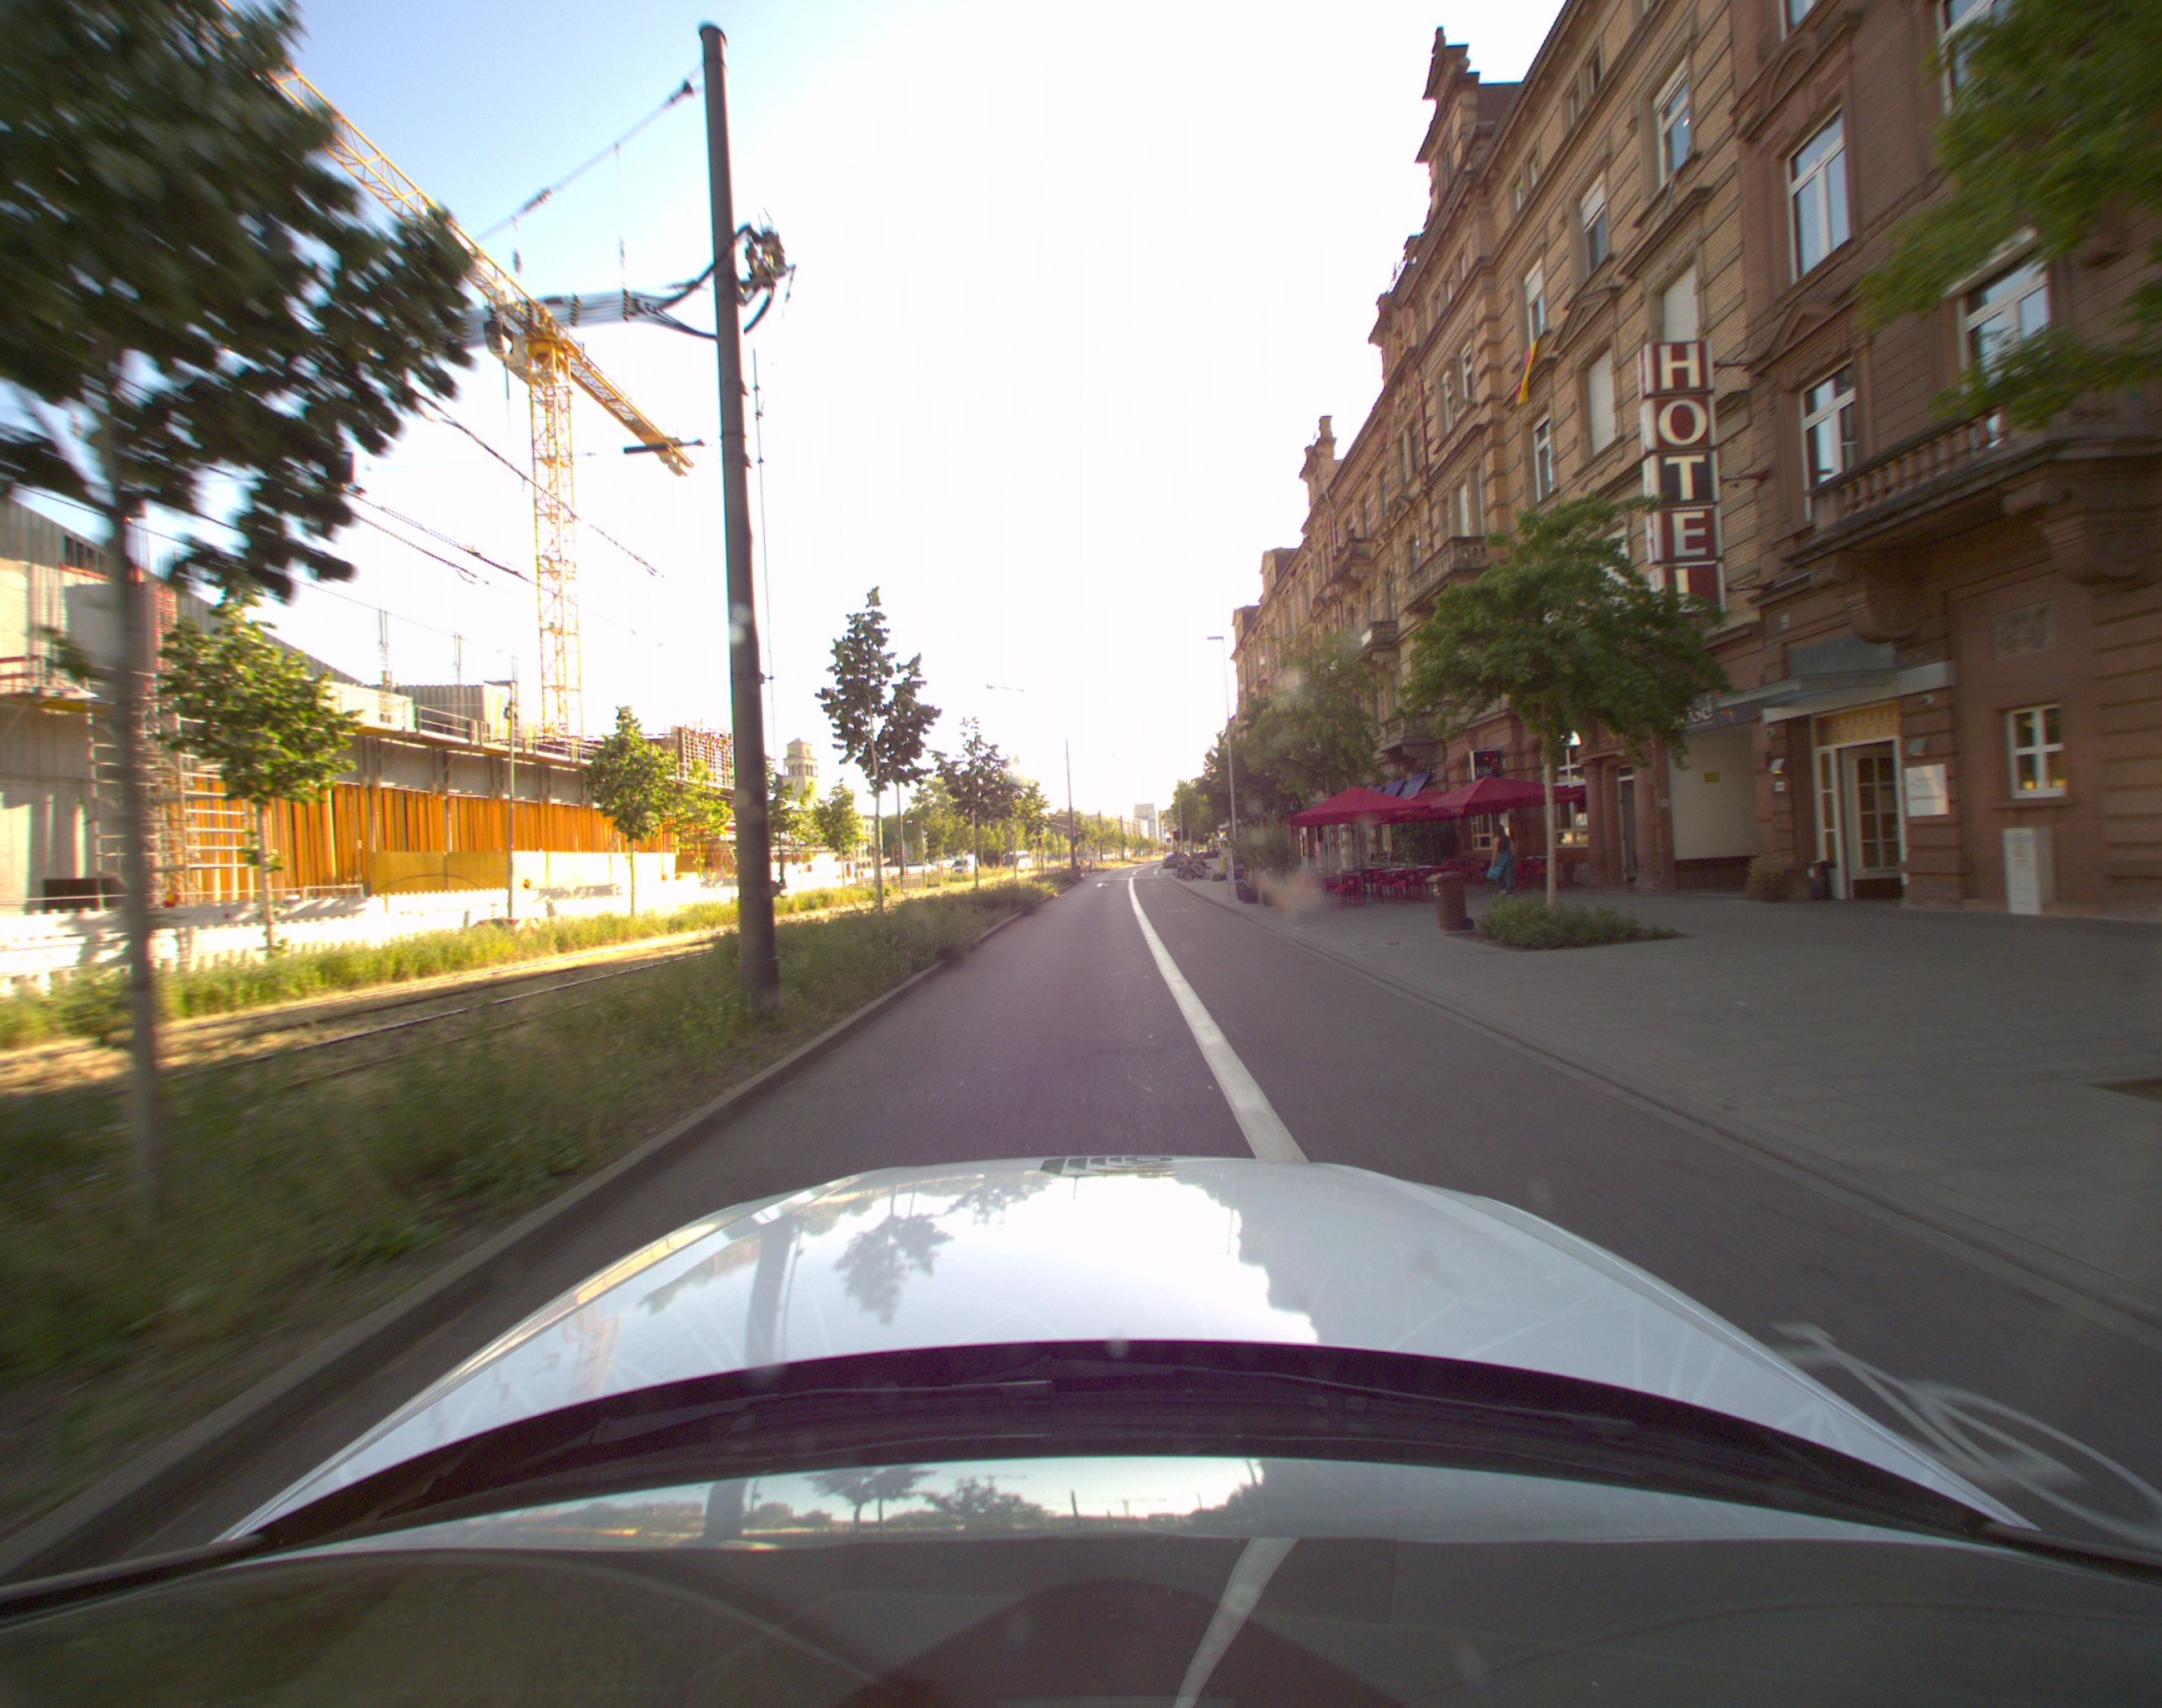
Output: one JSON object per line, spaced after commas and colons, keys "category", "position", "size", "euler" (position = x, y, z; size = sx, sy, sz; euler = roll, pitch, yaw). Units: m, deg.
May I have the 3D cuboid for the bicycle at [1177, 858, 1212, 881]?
{"category": "bicycle", "position": [6.364, 0.862, 45.821], "size": [1.834, 1.104, 0.567], "euler": [-6, -1, 7]}

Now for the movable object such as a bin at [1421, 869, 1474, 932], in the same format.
{"category": "movable object such as a bin", "position": [5.912, 0.747, 13.165], "size": [0.669, 0.924, 0.563], "euler": [-7, -2, 22]}

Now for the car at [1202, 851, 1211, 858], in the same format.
{"category": "car", "position": [29.534, 0.112, 191.758], "size": [1.695, 1.418, 4.290], "euler": [-5, -1, 11]}

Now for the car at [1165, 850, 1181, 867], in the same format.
{"category": "car", "position": [11.249, 0.490, 99.471], "size": [1.726, 1.919, 4.401], "euler": [-5, 0, 6]}

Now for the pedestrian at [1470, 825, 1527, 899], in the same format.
{"category": "pedestrian", "position": [9.198, 0.168, 17.962], "size": [0.725, 1.534, 0.797], "euler": [-5, -1, 1]}

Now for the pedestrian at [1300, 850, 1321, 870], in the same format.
{"category": "pedestrian", "position": [11.555, 0.291, 41.068], "size": [0.810, 0.962, 0.805], "euler": [-3, 0, 3]}

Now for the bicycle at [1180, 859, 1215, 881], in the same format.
{"category": "bicycle", "position": [6.341, 0.873, 44.308], "size": [1.795, 1.047, 0.567], "euler": [-6, -1, 7]}

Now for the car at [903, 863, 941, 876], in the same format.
{"category": "car", "position": [-24.506, 2.404, 125.296], "size": [5.198, 1.717, 2.129], "euler": [-3, 0, 7]}

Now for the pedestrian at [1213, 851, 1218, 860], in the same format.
{"category": "pedestrian", "position": [25.657, 0.213, 154.916], "size": [0.784, 1.648, 1.140], "euler": [-4, -1, 9]}

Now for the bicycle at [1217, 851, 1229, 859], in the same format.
{"category": "bicycle", "position": [22.541, 0.162, 129.316], "size": [1.891, 1.093, 0.393], "euler": [-4, -1, 3]}

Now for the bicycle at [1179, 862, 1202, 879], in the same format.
{"category": "bicycle", "position": [6.392, 0.981, 47.472], "size": [1.268, 0.877, 0.508], "euler": [-6, -1, 7]}

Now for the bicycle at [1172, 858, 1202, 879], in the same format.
{"category": "bicycle", "position": [6.544, 0.872, 50.198], "size": [1.744, 1.104, 0.508], "euler": [-6, -1, 7]}

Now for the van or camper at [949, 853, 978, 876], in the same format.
{"category": "van or camper", "position": [-14.617, 1.245, 101.648], "size": [2.213, 2.510, 7.204], "euler": [-5, 0, 2]}

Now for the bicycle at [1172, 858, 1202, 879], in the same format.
{"category": "bicycle", "position": [6.594, 0.896, 50.788], "size": [1.744, 1.104, 0.508], "euler": [-6, -1, 7]}

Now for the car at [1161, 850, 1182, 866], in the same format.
{"category": "car", "position": [10.163, 0.475, 91.972], "size": [1.924, 1.598, 4.702], "euler": [-5, 0, 2]}

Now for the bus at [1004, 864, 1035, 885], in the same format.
{"category": "bus", "position": [-11.423, 3.759, 153.697], "size": [2.782, 3.595, 12.730], "euler": [-3, 0, 9]}

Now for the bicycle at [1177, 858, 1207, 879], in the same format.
{"category": "bicycle", "position": [6.659, 0.881, 48.910], "size": [1.712, 1.104, 0.508], "euler": [-6, -1, 7]}
